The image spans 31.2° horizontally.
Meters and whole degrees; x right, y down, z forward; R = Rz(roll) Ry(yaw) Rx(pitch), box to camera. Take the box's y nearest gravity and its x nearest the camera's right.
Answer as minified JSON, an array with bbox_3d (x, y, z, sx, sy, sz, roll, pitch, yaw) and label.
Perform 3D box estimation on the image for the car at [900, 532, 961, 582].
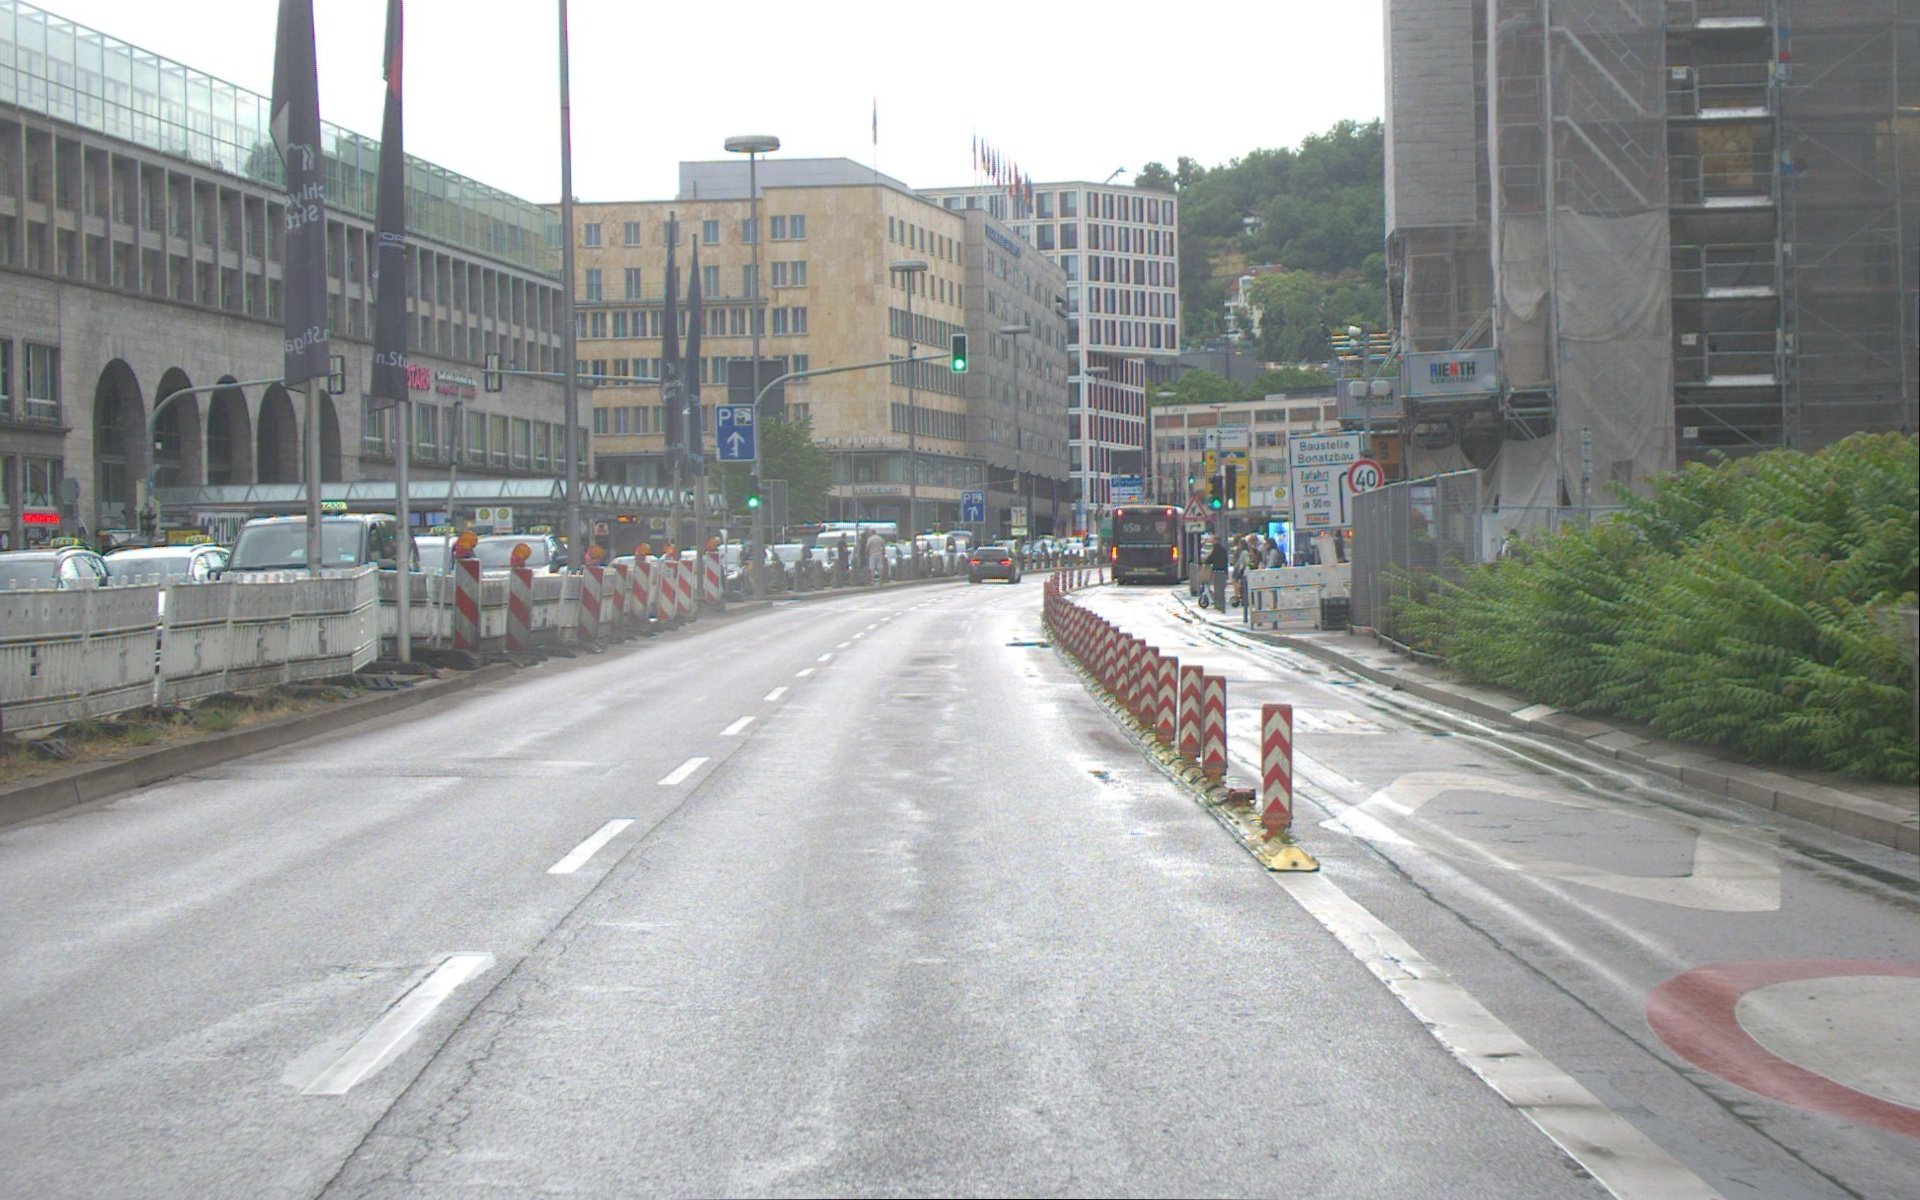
[{"bbox_3d":[-1.294,-1.927,154.719,1.994,2.171,5.542,-1,0,7],"label":"car"}]

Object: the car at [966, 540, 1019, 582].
[{"bbox_3d":[1.287,-1.530,135.133,1.993,1.547,4.000,-1,0,1],"label":"car"}]

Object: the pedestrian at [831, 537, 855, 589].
[{"bbox_3d":[-3.907,-1.232,114.879,0.698,1.749,0.711,-1,0,6],"label":"pedestrian"}]

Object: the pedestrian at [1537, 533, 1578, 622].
[{"bbox_3d":[12.336,-0.453,70.999,0.671,1.826,1.015,0,0,0],"label":"pedestrian"}]

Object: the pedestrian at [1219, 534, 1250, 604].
[{"bbox_3d":[7.057,-0.789,88.447,0.558,1.753,0.752,-3,0,-7],"label":"pedestrian"}]

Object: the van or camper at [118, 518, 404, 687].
[{"bbox_3d":[-8.224,0.033,40.977,1.945,1.813,5.391,-2,0,4],"label":"van or camper"}]

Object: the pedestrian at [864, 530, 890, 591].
[{"bbox_3d":[-2.765,-1.315,114.618,0.723,2.001,0.772,1,0,6],"label":"pedestrian"}]

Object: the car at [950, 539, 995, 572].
[{"bbox_3d":[0.642,-2.236,172.900,1.994,1.547,3.999,-1,0,4],"label":"car"}]

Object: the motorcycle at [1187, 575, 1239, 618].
[{"bbox_3d":[6.136,-0.086,83.410,0.584,1.018,1.239,0,0,-37],"label":"motorcycle"}]

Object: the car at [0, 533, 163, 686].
[{"bbox_3d":[-10.987,0.078,40.652,1.890,1.696,4.300,1,1,4],"label":"car"}]

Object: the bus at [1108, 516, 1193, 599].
[{"bbox_3d":[7.548,-1.613,135.412,2.756,3.058,9.077,1,0,7],"label":"bus"}]

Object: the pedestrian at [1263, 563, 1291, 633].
[{"bbox_3d":[7.601,-0.057,82.513,0.558,1.645,0.614,-3,0,7],"label":"pedestrian"}]

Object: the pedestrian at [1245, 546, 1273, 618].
[{"bbox_3d":[7.424,-0.445,85.357,0.558,1.746,0.711,-3,0,7],"label":"pedestrian"}]

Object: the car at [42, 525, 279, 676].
[{"bbox_3d":[-11.071,-0.006,47.944,1.914,1.845,4.566,5,1,3],"label":"car"}]

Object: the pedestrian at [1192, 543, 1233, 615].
[{"bbox_3d":[6.124,-0.504,83.423,0.580,1.735,0.822,0,0,-37],"label":"pedestrian"}]

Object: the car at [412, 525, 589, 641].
[{"bbox_3d":[-7.590,-0.301,57.237,1.994,1.811,4.810,-1,1,4],"label":"car"}]

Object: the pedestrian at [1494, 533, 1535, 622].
[{"bbox_3d":[11.433,-0.465,70.952,0.671,1.826,1.015,0,0,0],"label":"pedestrian"}]
